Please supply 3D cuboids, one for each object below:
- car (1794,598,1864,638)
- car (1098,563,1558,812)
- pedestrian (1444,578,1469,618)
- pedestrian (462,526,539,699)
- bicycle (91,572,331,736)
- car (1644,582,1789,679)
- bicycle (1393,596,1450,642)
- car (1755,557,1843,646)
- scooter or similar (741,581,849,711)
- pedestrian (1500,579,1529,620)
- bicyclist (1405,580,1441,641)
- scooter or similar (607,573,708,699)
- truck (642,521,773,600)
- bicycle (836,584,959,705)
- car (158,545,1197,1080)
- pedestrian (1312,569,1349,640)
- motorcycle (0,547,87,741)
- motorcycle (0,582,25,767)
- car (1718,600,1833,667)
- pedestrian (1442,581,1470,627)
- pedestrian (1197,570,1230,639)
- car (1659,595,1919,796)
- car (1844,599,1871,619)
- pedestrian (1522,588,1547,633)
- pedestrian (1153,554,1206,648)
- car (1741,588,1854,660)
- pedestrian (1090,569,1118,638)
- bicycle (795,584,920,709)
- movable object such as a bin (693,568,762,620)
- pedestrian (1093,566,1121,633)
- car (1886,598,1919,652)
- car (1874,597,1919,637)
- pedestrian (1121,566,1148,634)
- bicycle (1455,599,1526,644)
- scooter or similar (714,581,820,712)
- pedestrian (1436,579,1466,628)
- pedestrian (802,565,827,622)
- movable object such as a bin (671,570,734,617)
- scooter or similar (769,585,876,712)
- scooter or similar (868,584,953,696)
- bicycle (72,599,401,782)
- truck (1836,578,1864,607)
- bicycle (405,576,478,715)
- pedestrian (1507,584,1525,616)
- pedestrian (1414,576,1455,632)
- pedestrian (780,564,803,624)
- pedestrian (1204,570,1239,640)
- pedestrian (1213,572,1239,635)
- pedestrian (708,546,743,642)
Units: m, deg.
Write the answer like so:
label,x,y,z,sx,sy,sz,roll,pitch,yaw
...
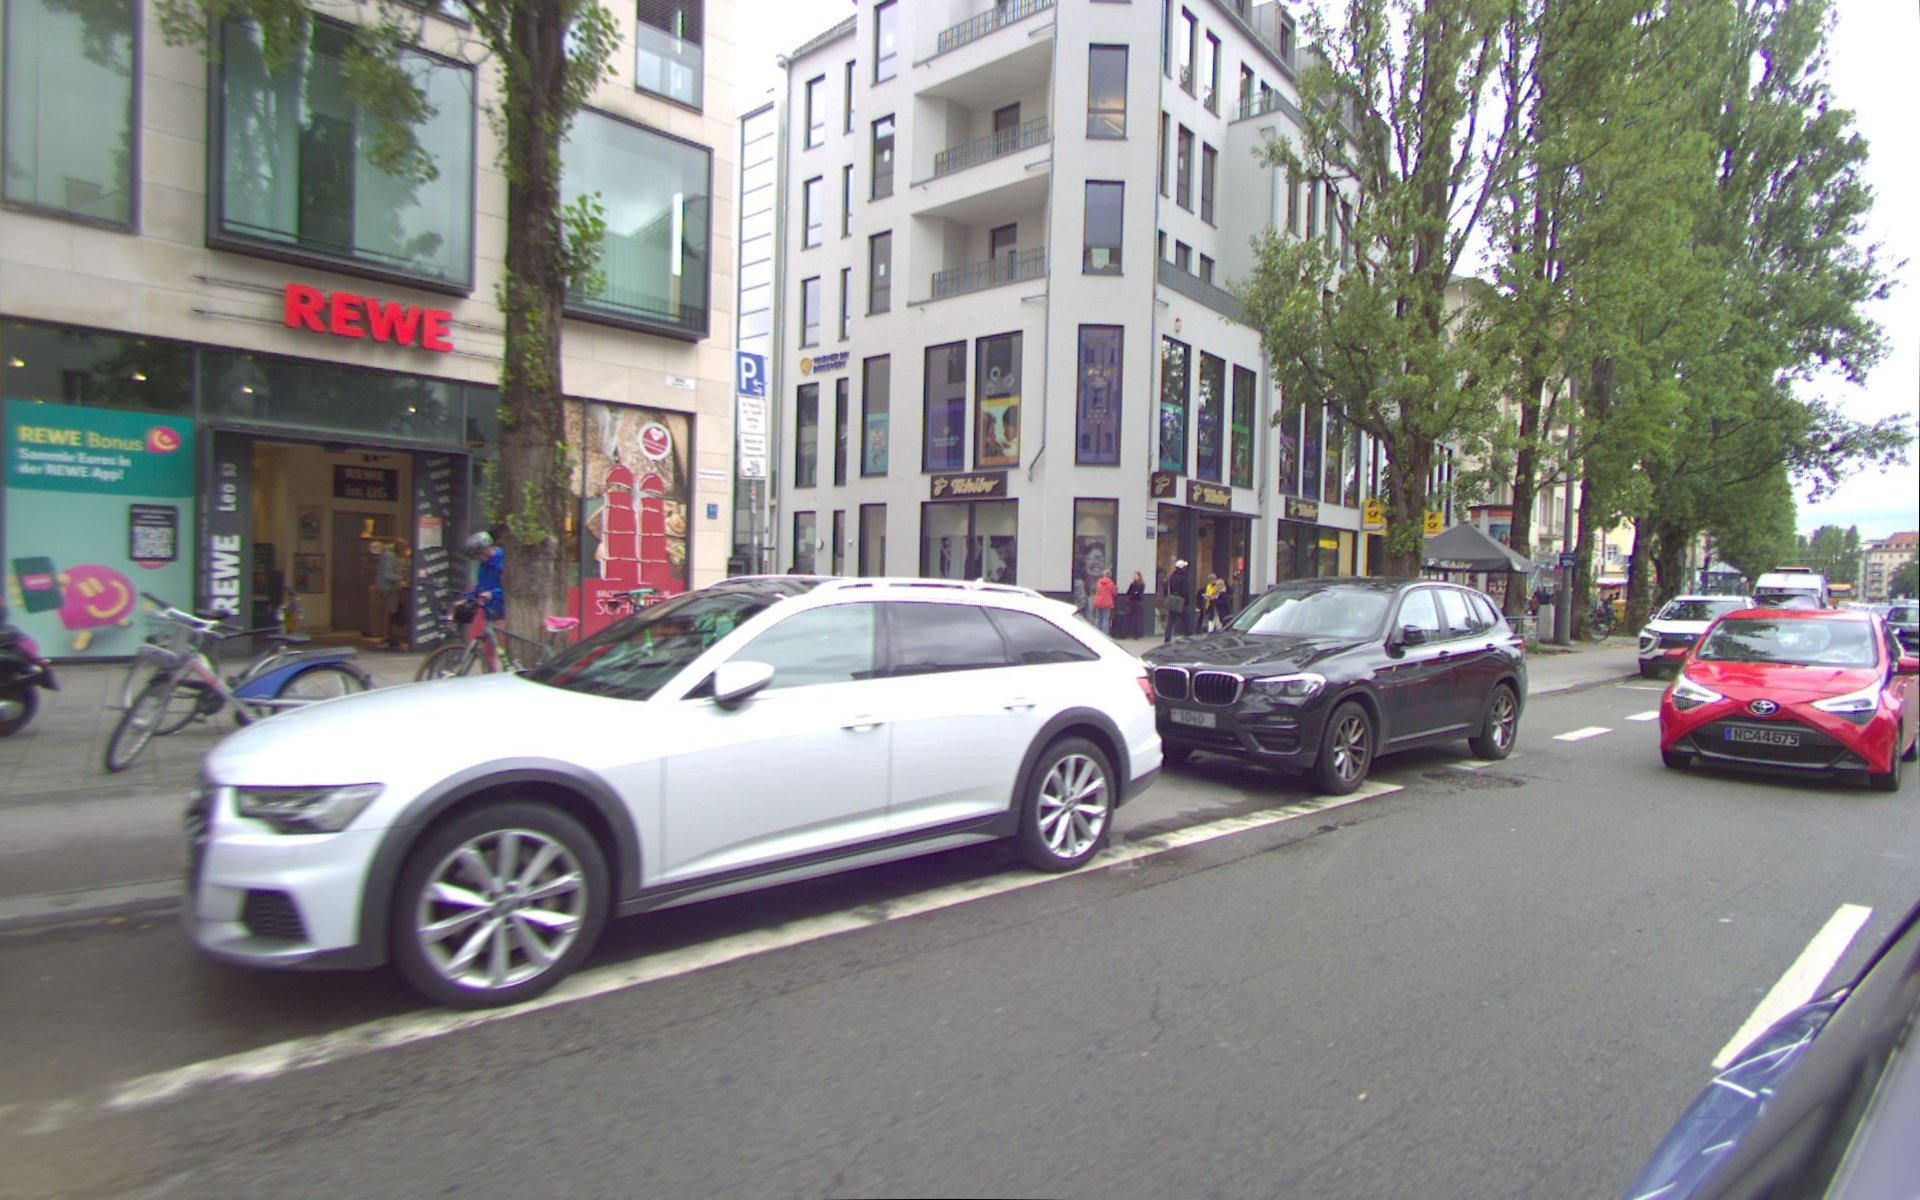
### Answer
label,x,y,z,sx,sy,sz,roll,pitch,yaw
car,33.422,0.669,38.906,4.079,1.472,1.726,0,0,-45
car,3.514,0.570,9.211,4.568,1.721,1.929,-1,1,-40
pedestrian,20.140,-0.089,41.050,0.690,1.604,0.761,3,1,41
pedestrian,-4.553,0.111,10.062,0.599,1.639,0.796,2,2,-20
bicycle,-5.863,0.414,7.973,1.425,1.204,0.548,2,1,-7
car,15.189,0.541,20.230,1.728,1.707,4.337,2,1,45
bicycle,11.296,0.452,24.728,1.773,1.076,0.591,1,2,-42
car,28.380,0.004,34.172,1.993,2.776,5.469,1,1,43
scooter or similar,-1.724,0.442,10.460,0.306,1.215,1.436,1,2,-44
pedestrian,24.215,-0.019,44.217,0.724,1.745,0.723,2,2,-11
bicyclist,11.315,0.252,24.727,0.432,1.466,0.640,1,1,-42
scooter or similar,-3.265,0.346,10.858,0.543,1.226,1.388,1,2,-38
truck,-11.956,-1.823,48.186,5.585,3.507,2.218,1,2,-42
bicycle,-0.727,0.460,11.407,0.527,1.222,1.480,1,2,-44
car,-1.017,0.590,5.118,4.720,1.519,1.815,1,2,-40
pedestrian,9.341,0.099,25.521,0.666,1.746,0.760,3,2,34
motorcycle,-7.259,0.309,7.061,0.681,1.373,1.628,3,2,27
motorcycle,-6.725,0.478,5.979,0.681,1.170,1.628,3,2,27
car,19.512,0.734,24.129,1.771,1.451,4.498,0,0,44
pedestrian,17.808,0.137,36.323,0.682,1.577,0.738,3,2,43
pedestrian,6.202,0.098,24.781,0.559,1.654,0.491,1,2,-41
car,7.923,0.708,9.407,3.536,1.464,1.667,-1,1,-44
car,85.735,0.867,96.711,1.853,1.727,3.941,4,3,41
pedestrian,17.660,0.328,31.105,0.589,1.358,0.389,0,0,21
pedestrian,4.700,0.022,21.670,0.911,1.948,0.647,1,2,-44
car,23.198,0.597,27.965,4.701,1.827,1.930,0,1,-44
pedestrian,3.491,0.067,24.463,0.543,1.645,0.503,0,0,26
bicycle,-1.133,0.465,11.006,0.527,1.222,1.480,1,2,-44
movable object such as a bin,-6.261,-0.163,27.250,1.108,1.334,1.371,3,1,43
pedestrian,3.670,-0.023,25.249,0.537,1.645,0.508,0,0,-12
car,28.080,0.705,29.312,1.734,1.488,3.990,2,1,41
car,45.265,0.783,48.587,1.992,1.772,3.940,1,1,41
pedestrian,4.271,0.002,24.791,0.497,1.645,0.550,0,0,-9
bicycle,15.010,0.606,28.672,0.876,1.153,1.516,1,2,-31
scooter or similar,-2.005,0.442,10.398,0.306,1.215,1.436,1,2,-44
pedestrian,16.270,0.104,33.538,0.682,1.577,0.738,3,1,43
pedestrian,-4.129,-0.185,28.687,0.541,1.600,0.508,0,0,-31
movable object such as a bin,-7.125,-0.180,28.003,1.108,1.236,1.279,3,1,43
scooter or similar,-1.478,0.474,10.715,0.306,1.215,1.436,1,2,-44
scooter or similar,-0.599,0.449,12.016,0.373,1.241,1.052,1,2,-43
bicycle,-4.962,0.552,7.050,0.640,1.076,1.748,3,2,36
truck,116.500,-0.967,132.494,2.533,3.531,7.636,3,2,41
bicycle,-5.035,0.391,9.886,0.442,1.186,1.772,1,2,-22
pedestrian,30.219,0.006,55.003,0.601,1.671,0.753,3,1,44
pedestrian,14.439,0.111,30.766,0.800,1.657,1.007,3,1,44
pedestrian,-4.718,-0.175,28.374,0.490,1.645,0.508,0,0,-31
pedestrian,6.003,0.111,23.233,0.559,1.586,0.491,1,2,-41
pedestrian,6.939,0.075,26.390,0.557,1.595,0.673,2,1,18
pedestrian,-4.425,-0.117,19.089,0.422,1.772,0.466,2,1,21
